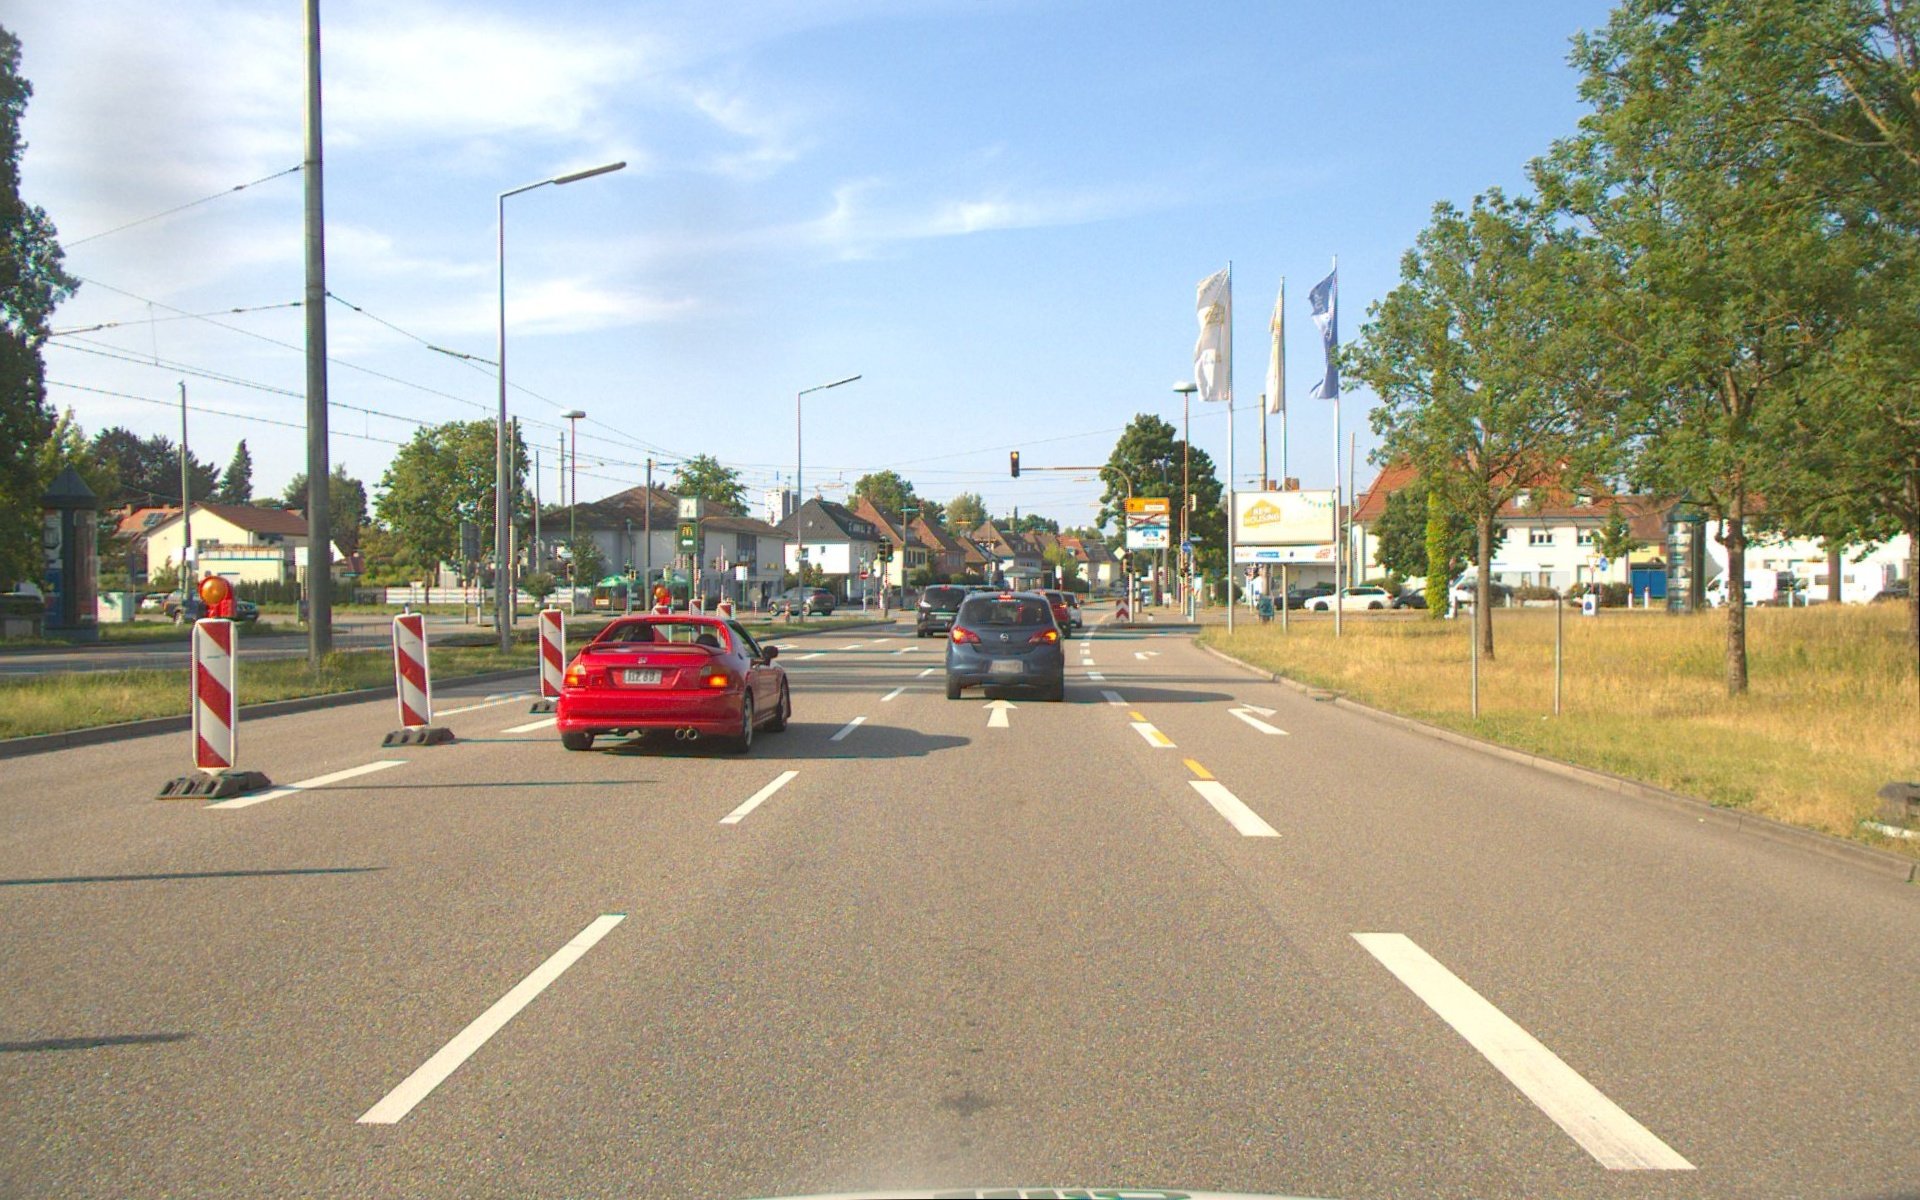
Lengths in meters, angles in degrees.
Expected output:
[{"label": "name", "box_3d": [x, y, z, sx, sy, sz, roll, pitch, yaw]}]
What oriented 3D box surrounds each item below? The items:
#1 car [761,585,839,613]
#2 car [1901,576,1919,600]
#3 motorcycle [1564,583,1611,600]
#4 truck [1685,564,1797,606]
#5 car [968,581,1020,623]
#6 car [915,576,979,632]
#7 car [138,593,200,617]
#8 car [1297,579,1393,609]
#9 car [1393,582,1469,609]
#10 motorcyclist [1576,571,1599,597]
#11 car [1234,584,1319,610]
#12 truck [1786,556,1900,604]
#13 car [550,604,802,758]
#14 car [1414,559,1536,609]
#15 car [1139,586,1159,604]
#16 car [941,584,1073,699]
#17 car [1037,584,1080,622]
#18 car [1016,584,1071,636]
[{"label": "car", "box_3d": [-9.036, -0.063, 93.565, 3.907, 1.512, 1.999, 0, 0, 25]}, {"label": "car", "box_3d": [60.840, -0.753, 102.690, 1.880, 1.481, 3.850, -1, 0, -42]}, {"label": "motorcycle", "box_3d": [33.574, -0.452, 88.489, 2.223, 0.882, 0.691, 0, 0, 6]}, {"label": "truck", "box_3d": [48.620, -0.970, 103.101, 2.244, 2.568, 6.300, -1, 1, -27]}, {"label": "car", "box_3d": [1.425, 0.055, 67.857, 1.474, 1.680, 4.748, 0, 0, 9]}, {"label": "car", "box_3d": [-0.370, 0.102, 52.685, 1.726, 1.700, 4.086, 0, 1, 4]}, {"label": "car", "box_3d": [-58.378, 0.389, 122.138, 1.951, 1.713, 4.223, 1, 0, 13]}, {"label": "car", "box_3d": [21.103, -0.334, 90.758, 4.986, 1.590, 1.841, -1, 0, 8]}, {"label": "car", "box_3d": [26.609, -0.274, 93.574, 3.902, 1.478, 1.717, -1, 0, 8]}, {"label": "motorcyclist", "box_3d": [33.566, -0.860, 88.484, 1.043, 1.375, 0.680, 0, 0, 6]}, {"label": "car", "box_3d": [18.066, -0.158, 94.564, 4.721, 1.436, 1.717, -1, 0, 8]}, {"label": "truck", "box_3d": [54.807, -1.227, 102.759, 1.877, 2.904, 5.994, -1, 0, -39]}, {"label": "car", "box_3d": [-2.618, 0.698, 16.114, 1.695, 1.227, 3.847, 1, 1, 1]}, {"label": "car", "box_3d": [27.964, -0.880, 89.988, 6.076, 2.629, 2.002, 0, 0, 7]}, {"label": "car", "box_3d": [15.997, -0.429, 139.931, 1.639, 1.422, 4.003, 1, 0, 7]}, {"label": "car", "box_3d": [0.606, 0.541, 24.476, 1.706, 1.532, 4.221, 0, 1, -2]}, {"label": "car", "box_3d": [3.998, 0.111, 66.877, 1.621, 1.468, 4.017, -1, 0, 5]}, {"label": "car", "box_3d": [2.733, 0.290, 53.469, 1.670, 1.579, 3.980, -1, 0, 4]}]
